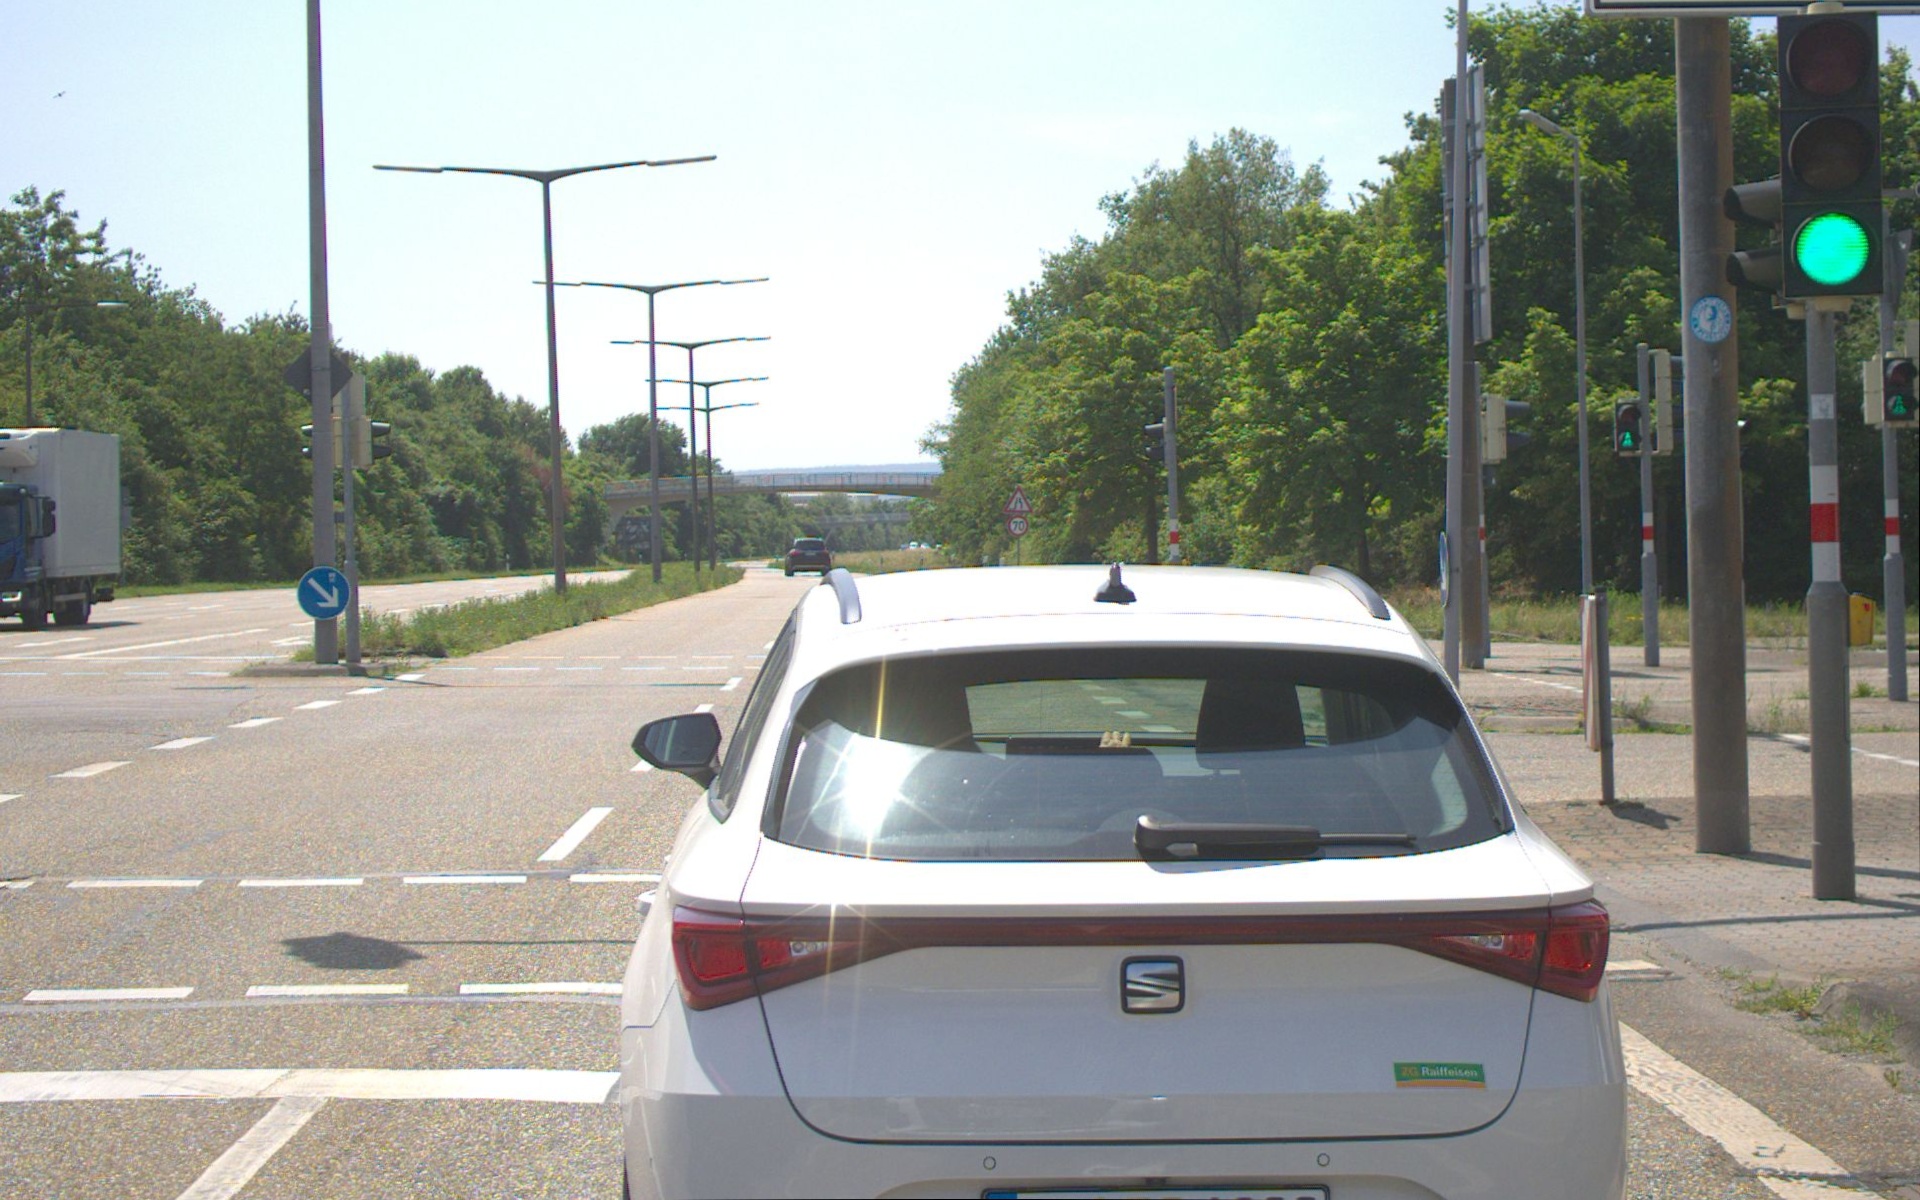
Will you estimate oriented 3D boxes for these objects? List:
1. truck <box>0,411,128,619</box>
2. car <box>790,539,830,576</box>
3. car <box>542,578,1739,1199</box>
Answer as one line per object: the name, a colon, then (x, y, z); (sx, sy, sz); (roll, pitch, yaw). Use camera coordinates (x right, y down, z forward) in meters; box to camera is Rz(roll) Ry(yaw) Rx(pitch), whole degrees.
truck: (-17.303, -1.531, 62.551); (2.687, 3.558, 7.268); (0, 1, -1)
car: (-7.152, -2.033, 164.187); (1.855, 1.703, 4.001); (-1, 1, -2)
car: (0.235, 0.684, 6.863); (1.734, 1.423, 3.695); (1, 0, -1)
